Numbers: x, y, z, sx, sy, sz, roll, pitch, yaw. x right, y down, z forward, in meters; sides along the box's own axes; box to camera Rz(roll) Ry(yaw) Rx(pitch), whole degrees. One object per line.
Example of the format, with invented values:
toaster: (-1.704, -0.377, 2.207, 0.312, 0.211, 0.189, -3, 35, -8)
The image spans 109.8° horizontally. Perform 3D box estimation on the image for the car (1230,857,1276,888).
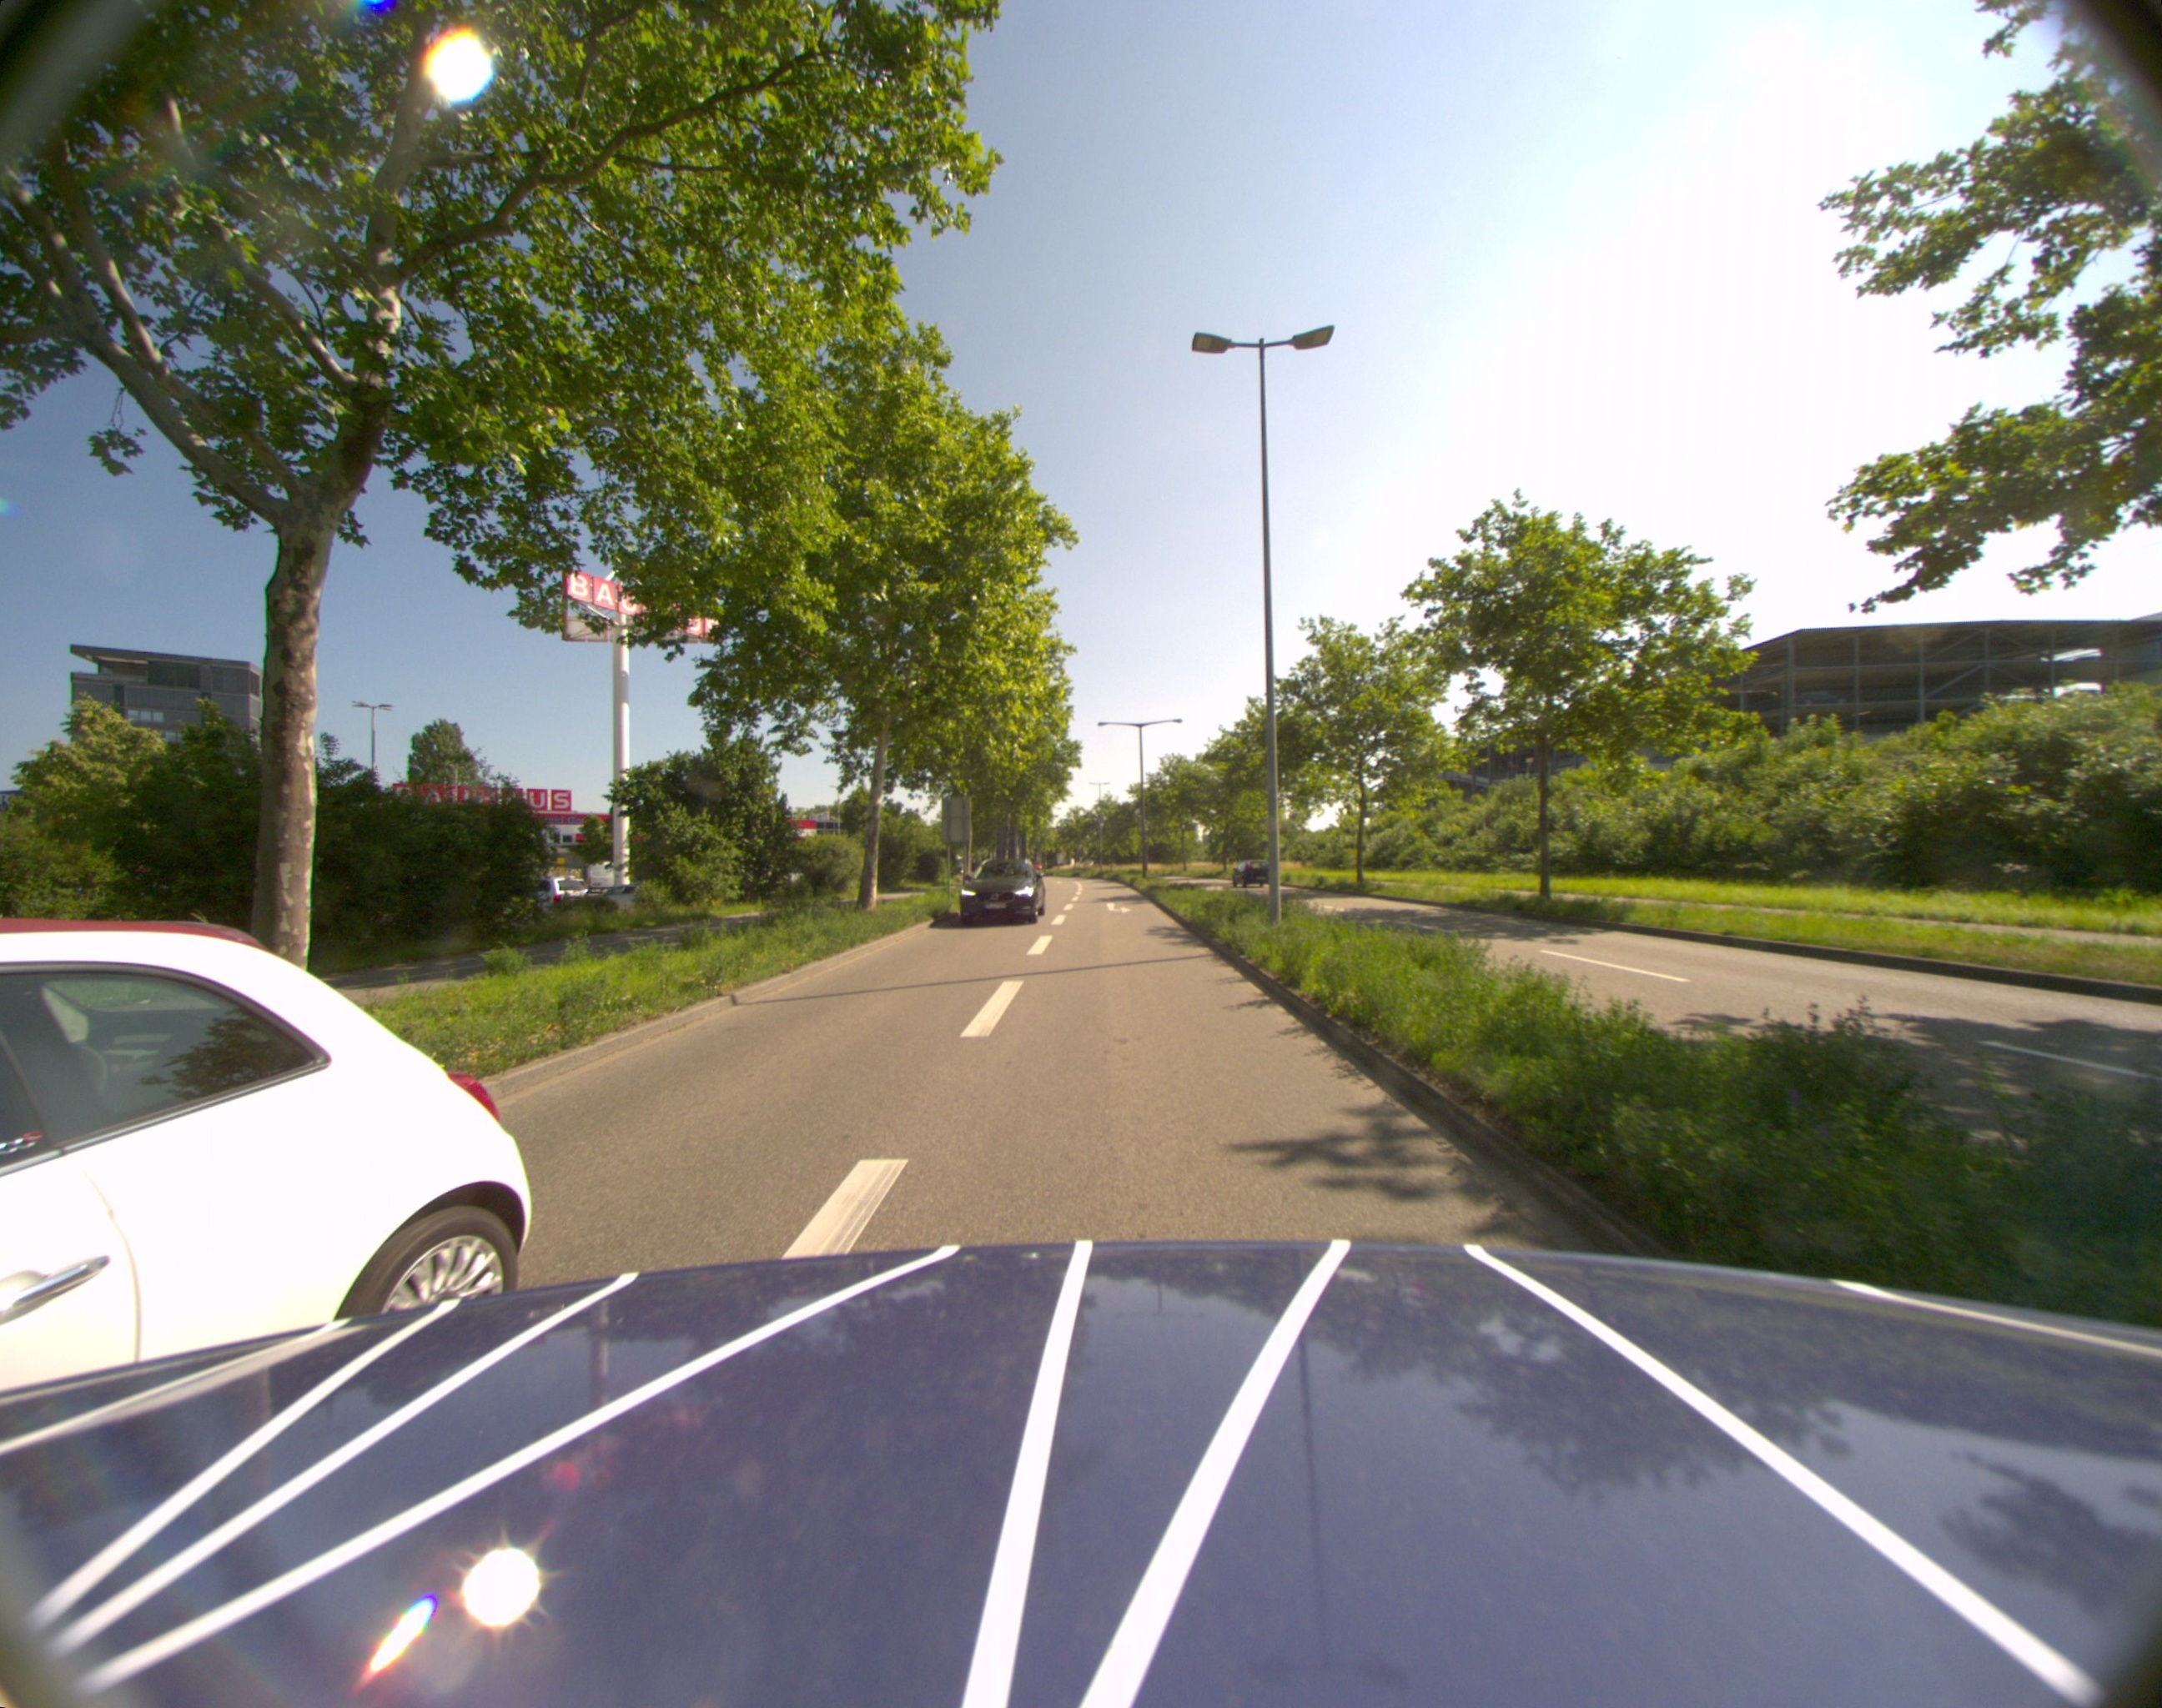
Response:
car: (9.165, 0.957, 40.794, 1.574, 1.461, 3.927, -2, 0, 1)

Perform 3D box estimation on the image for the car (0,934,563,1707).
car: (-2.684, 1.017, 0.830, 1.665, 1.428, 3.520, -2, 0, 3)

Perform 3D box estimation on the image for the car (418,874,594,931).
car: (-21.360, 1.782, 28.407, 4.982, 1.805, 1.806, -2, 0, -5)

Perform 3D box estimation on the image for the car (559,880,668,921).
car: (-21.982, 2.178, 35.864, 3.998, 1.662, 1.697, -2, 0, -4)

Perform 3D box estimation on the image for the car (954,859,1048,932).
car: (-2.003, 1.007, 20.354, 1.924, 1.613, 4.564, -2, 0, 0)
